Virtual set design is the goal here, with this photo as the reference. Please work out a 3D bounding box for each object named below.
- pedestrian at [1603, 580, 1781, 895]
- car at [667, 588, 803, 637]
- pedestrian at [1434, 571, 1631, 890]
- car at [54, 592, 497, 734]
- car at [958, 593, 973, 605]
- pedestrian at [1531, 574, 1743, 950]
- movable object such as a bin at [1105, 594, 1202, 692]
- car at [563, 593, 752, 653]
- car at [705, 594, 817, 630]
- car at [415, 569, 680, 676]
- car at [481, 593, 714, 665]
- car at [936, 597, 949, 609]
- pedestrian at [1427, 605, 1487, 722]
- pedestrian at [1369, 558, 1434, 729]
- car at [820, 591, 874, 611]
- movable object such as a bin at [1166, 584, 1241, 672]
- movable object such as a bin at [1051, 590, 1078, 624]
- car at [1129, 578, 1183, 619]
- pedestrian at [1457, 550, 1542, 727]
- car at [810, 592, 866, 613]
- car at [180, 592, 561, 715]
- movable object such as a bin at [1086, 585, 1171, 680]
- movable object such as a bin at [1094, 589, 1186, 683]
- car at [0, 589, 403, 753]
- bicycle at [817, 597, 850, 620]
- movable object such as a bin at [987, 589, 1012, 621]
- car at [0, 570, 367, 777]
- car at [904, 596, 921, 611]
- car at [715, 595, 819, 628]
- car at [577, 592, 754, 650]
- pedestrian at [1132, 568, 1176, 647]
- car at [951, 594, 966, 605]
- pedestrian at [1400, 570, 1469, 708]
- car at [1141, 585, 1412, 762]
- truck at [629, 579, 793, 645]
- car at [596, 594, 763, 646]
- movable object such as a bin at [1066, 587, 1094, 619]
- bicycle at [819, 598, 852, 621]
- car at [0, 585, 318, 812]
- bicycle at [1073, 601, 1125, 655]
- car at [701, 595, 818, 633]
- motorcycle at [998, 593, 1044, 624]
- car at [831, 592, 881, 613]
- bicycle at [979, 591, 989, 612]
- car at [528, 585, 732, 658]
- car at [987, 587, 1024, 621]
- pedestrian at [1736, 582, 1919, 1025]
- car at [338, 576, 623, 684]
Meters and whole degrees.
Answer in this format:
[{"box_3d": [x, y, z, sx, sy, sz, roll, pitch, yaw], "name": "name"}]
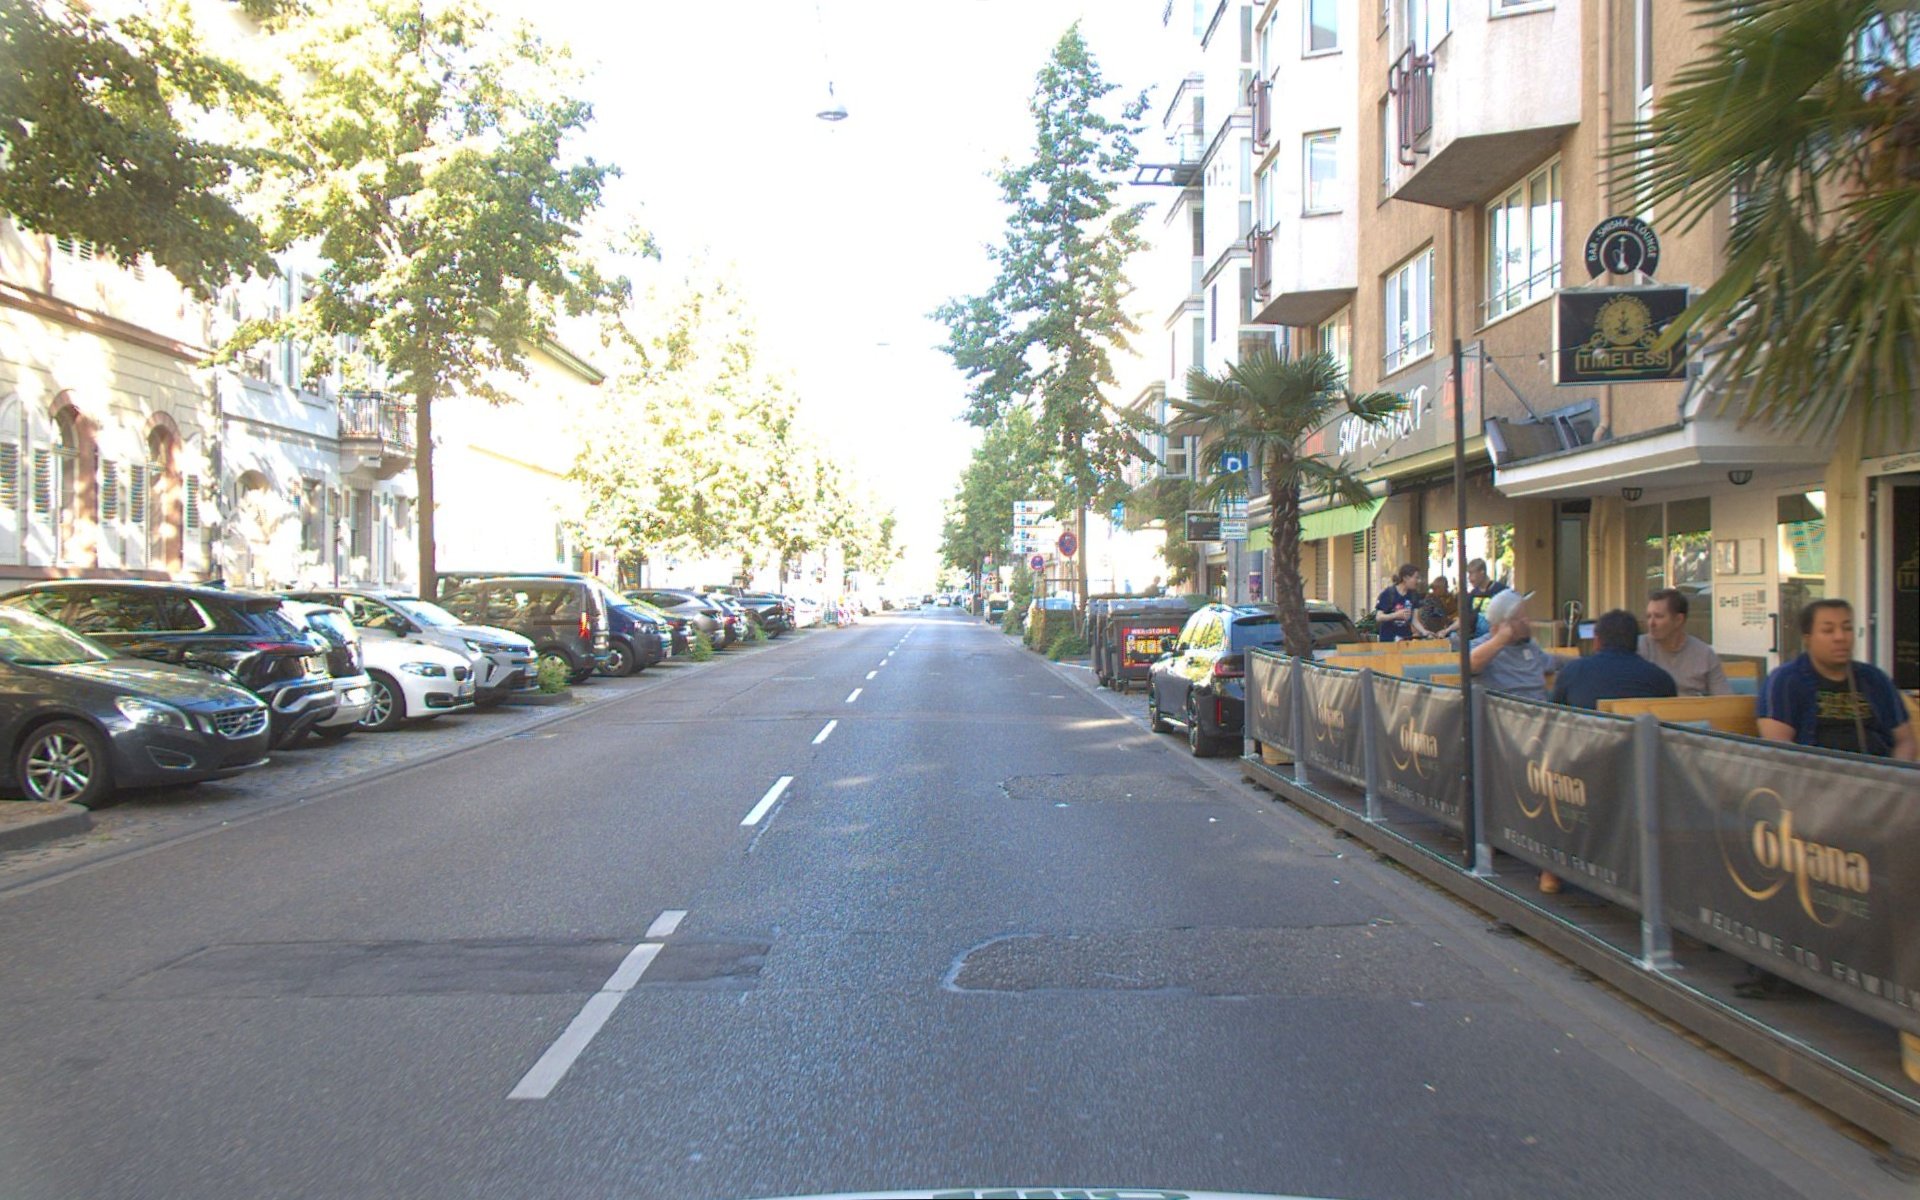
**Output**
[{"box_3d": [3.803, 0.685, 8.652, 0.696, 1.563, 0.770, -1, 0, 14], "name": "pedestrian"}, {"box_3d": [-7.979, 0.441, 58.921, 4.584, 1.723, 1.808, 0, 0, 0], "name": "car"}, {"box_3d": [2.972, 0.642, 8.666, 0.637, 1.563, 0.979, -1, 0, -2], "name": "pedestrian"}, {"box_3d": [-7.870, 0.697, 19.351, 4.376, 1.568, 1.916, 0, 0, -2], "name": "car"}, {"box_3d": [0.746, -0.141, 223.676, 1.953, 1.534, 3.999, 0, 0, -1], "name": "car"}, {"box_3d": [2.984, 0.678, 7.367, 0.733, 1.563, 0.808, -1, 0, 14], "name": "pedestrian"}, {"box_3d": [3.021, 0.662, 25.978, 1.370, 1.479, 1.146, -1, 0, -1], "name": "movable object such as a bin"}, {"box_3d": [-7.855, 0.588, 43.239, 4.584, 1.546, 1.808, 0, 0, 0], "name": "car"}, {"box_3d": [-8.329, 0.494, 69.571, 4.588, 1.491, 1.807, 0, 0, -4], "name": "car"}, {"box_3d": [-7.829, 0.417, 31.698, 4.584, 1.984, 1.917, 0, 0, 0], "name": "car"}, {"box_3d": [-7.602, 0.590, 34.934, 4.551, 1.485, 1.683, 0, 0, -1], "name": "car"}, {"box_3d": [-2.363, 0.386, 220.414, 1.756, 1.436, 3.999, -1, 1, -1], "name": "car"}, {"box_3d": [5.149, 0.646, 17.132, 0.435, 1.183, 0.499, -1, 0, 37], "name": "pedestrian"}, {"box_3d": [4.568, 0.444, 17.135, 0.603, 1.725, 0.763, -1, 0, 15], "name": "pedestrian"}, {"box_3d": [-8.489, 0.101, 124.354, 3.906, 1.414, 1.999, -1, 0, -2], "name": "car"}, {"box_3d": [4.157, 0.467, 28.327, 1.055, 1.456, 1.295, -1, 0, -1], "name": "movable object such as a bin"}, {"box_3d": [5.293, 0.338, 83.976, 1.181, 1.656, 1.497, -1, 0, -2], "name": "movable object such as a bin"}, {"box_3d": [8.474, -0.088, 71.797, 1.862, 1.677, 4.294, -1, 0, 1], "name": "car"}, {"box_3d": [5.396, 0.371, 16.549, 0.498, 1.725, 0.622, -1, 0, -38], "name": "pedestrian"}, {"box_3d": [-8.740, 0.195, 118.563, 3.906, 1.414, 1.999, -1, 0, -2], "name": "car"}, {"box_3d": [-7.779, 0.678, 22.100, 4.373, 1.568, 1.917, 0, 0, 3], "name": "car"}, {"box_3d": [2.876, 0.536, 28.302, 1.303, 1.569, 1.146, -1, 0, -1], "name": "movable object such as a bin"}, {"box_3d": [2.938, 0.576, 27.139, 1.370, 1.479, 1.146, -1, 0, -1], "name": "movable object such as a bin"}, {"box_3d": [-8.228, 0.698, 17.191, 4.251, 1.609, 1.808, 0, 0, -1], "name": "car"}, {"box_3d": [-7.172, 0.479, 93.451, 1.820, 1.274, 0.599, 0, 0, -9], "name": "bicycle"}, {"box_3d": [2.055, 0.254, 86.492, 1.118, 1.589, 1.460, -1, 0, 7], "name": "movable object such as a bin"}, {"box_3d": [-7.807, 0.616, 14.880, 4.251, 1.739, 1.916, 0, 0, -1], "name": "car"}, {"box_3d": [-4.990, 0.366, 173.353, 1.766, 1.460, 4.408, -3, 0, -2], "name": "car"}, {"box_3d": [-8.678, 0.509, 74.771, 4.588, 1.437, 1.807, 0, 0, -4], "name": "car"}, {"box_3d": [-8.138, 0.569, 46.040, 4.584, 1.599, 1.808, 0, 0, 0], "name": "car"}, {"box_3d": [4.876, 0.188, 41.580, 0.906, 1.969, 0.761, -1, 0, 24], "name": "pedestrian"}, {"box_3d": [-0.198, -0.054, 219.271, 1.785, 1.415, 4.299, -3, 0, -2], "name": "car"}, {"box_3d": [5.865, 0.471, 20.475, 0.604, 1.670, 0.762, -1, 0, -1], "name": "pedestrian"}, {"box_3d": [3.134, 0.652, 17.419, 1.785, 1.497, 4.911, -3, 0, -1], "name": "car"}, {"box_3d": [-8.004, 0.376, 53.534, 4.982, 1.972, 1.999, -1, 0, -2], "name": "truck"}, {"box_3d": [-8.186, 0.565, 48.568, 4.584, 1.488, 1.808, 0, 0, 0], "name": "car"}, {"box_3d": [5.997, 0.155, 82.620, 1.245, 1.557, 1.176, -1, 0, -3], "name": "movable object such as a bin"}, {"box_3d": [-6.952, 0.508, 92.441, 1.820, 1.274, 0.599, 0, 0, -9], "name": "bicycle"}, {"box_3d": [-7.382, 0.679, 12.403, 4.374, 1.568, 1.917, 0, 0, 1], "name": "car"}, {"box_3d": [3.225, 0.635, 38.515, 0.597, 1.139, 2.051, -7, 1, -10], "name": "bicycle"}, {"box_3d": [-8.075, 0.560, 66.825, 4.588, 1.491, 1.807, 0, 0, -4], "name": "car"}, {"box_3d": [2.787, 0.379, 76.168, 1.943, 1.353, 0.909, -1, 0, -13], "name": "motorcycle"}, {"box_3d": [-8.605, 0.200, 137.266, 3.903, 1.724, 2.001, -1, 0, 4], "name": "car"}, {"box_3d": [1.760, 0.096, 122.651, 0.549, 1.465, 1.628, -6, 1, -1], "name": "bicycle"}, {"box_3d": [-8.013, 0.513, 40.422, 4.584, 1.742, 1.808, 0, 0, 0], "name": "car"}, {"box_3d": [2.472, 0.183, 90.757, 1.785, 1.708, 4.600, -3, 0, 0], "name": "car"}, {"box_3d": [3.468, 0.717, 6.257, 0.678, 1.563, 0.776, -1, 0, 0], "name": "pedestrian"}, {"box_3d": [-8.257, 0.502, 28.761, 4.374, 1.803, 1.917, 0, 0, 0], "name": "car"}]
